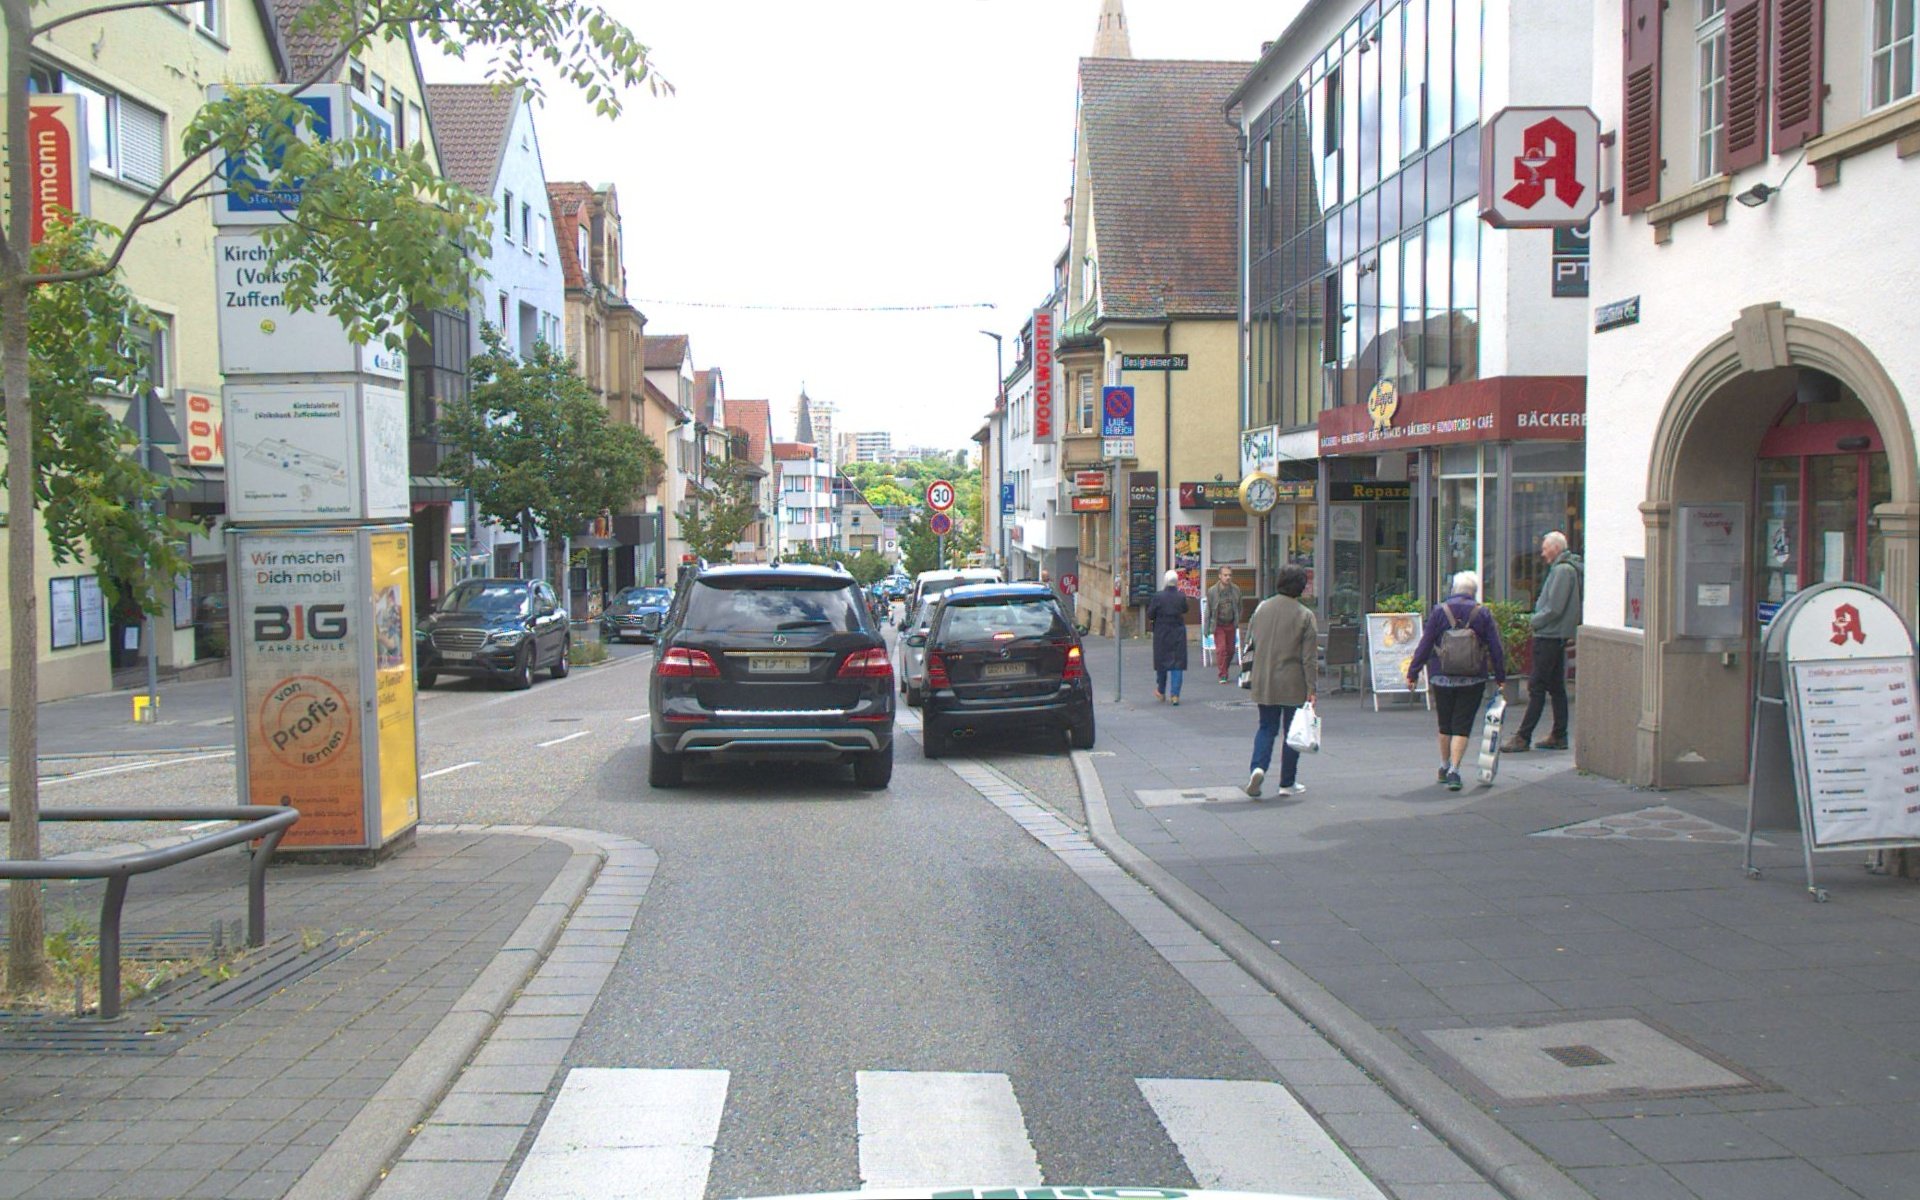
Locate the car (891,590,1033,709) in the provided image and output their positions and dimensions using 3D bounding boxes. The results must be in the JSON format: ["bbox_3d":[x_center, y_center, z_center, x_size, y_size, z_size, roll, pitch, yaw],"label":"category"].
[{"bbox_3d":[-0.054,0.627,23.219,1.669,1.493,3.996,-1,0,-4],"label":"car"}]

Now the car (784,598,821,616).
[{"bbox_3d":[-17.235,0.756,180.602,3.910,1.780,1.997,-3,-1,-6],"label":"car"}]

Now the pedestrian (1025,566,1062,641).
[{"bbox_3d":[2.012,0.082,39.960,0.780,1.757,1.052,-1,0,-2],"label":"pedestrian"}]

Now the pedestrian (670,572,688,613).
[{"bbox_3d":[-10.246,-0.270,60.335,0.480,1.489,0.559,2,-1,7],"label":"pedestrian"}]

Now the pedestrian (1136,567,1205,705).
[{"bbox_3d":[2.629,0.440,20.719,0.806,1.695,0.802,-1,0,4],"label":"pedestrian"}]

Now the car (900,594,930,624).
[{"bbox_3d":[-3.072,0.590,112.025,1.899,1.924,4.704,-2,0,-2],"label":"car"}]

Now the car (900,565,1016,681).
[{"bbox_3d":[0.035,0.357,28.508,1.838,1.831,4.733,0,0,2],"label":"car"}]

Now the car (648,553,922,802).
[{"bbox_3d":[-1.628,0.553,13.986,1.909,1.770,4.167,1,0,-12],"label":"car"}]

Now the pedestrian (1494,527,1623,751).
[{"bbox_3d":[4.951,0.313,13.724,0.758,1.800,0.817,-1,0,0],"label":"pedestrian"}]

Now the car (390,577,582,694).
[{"bbox_3d":[-7.664,0.507,27.210,1.966,1.723,4.605,1,1,-2],"label":"car"}]

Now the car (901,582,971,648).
[{"bbox_3d":[-0.646,0.380,44.046,1.713,1.636,3.799,-2,0,-1],"label":"car"}]

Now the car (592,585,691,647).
[{"bbox_3d":[-8.486,0.410,44.459,1.888,1.518,4.840,2,0,-3],"label":"car"}]

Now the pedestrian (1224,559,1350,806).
[{"bbox_3d":[2.283,0.559,11.650,0.756,1.674,0.870,-1,0,4],"label":"pedestrian"}]

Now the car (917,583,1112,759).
[{"bbox_3d":[0.459,0.638,17.130,1.767,1.582,3.953,-1,0,-1],"label":"car"}]

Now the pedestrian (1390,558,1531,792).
[{"bbox_3d":[3.520,0.514,11.693,0.709,1.557,0.808,-3,0,4],"label":"pedestrian"}]

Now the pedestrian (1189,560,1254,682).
[{"bbox_3d":[3.830,0.302,24.261,0.845,1.737,0.945,-1,0,4],"label":"pedestrian"}]

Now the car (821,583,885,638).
[{"bbox_3d":[-3.187,0.288,49.888,1.749,1.567,3.743,-1,0,-2],"label":"car"}]
